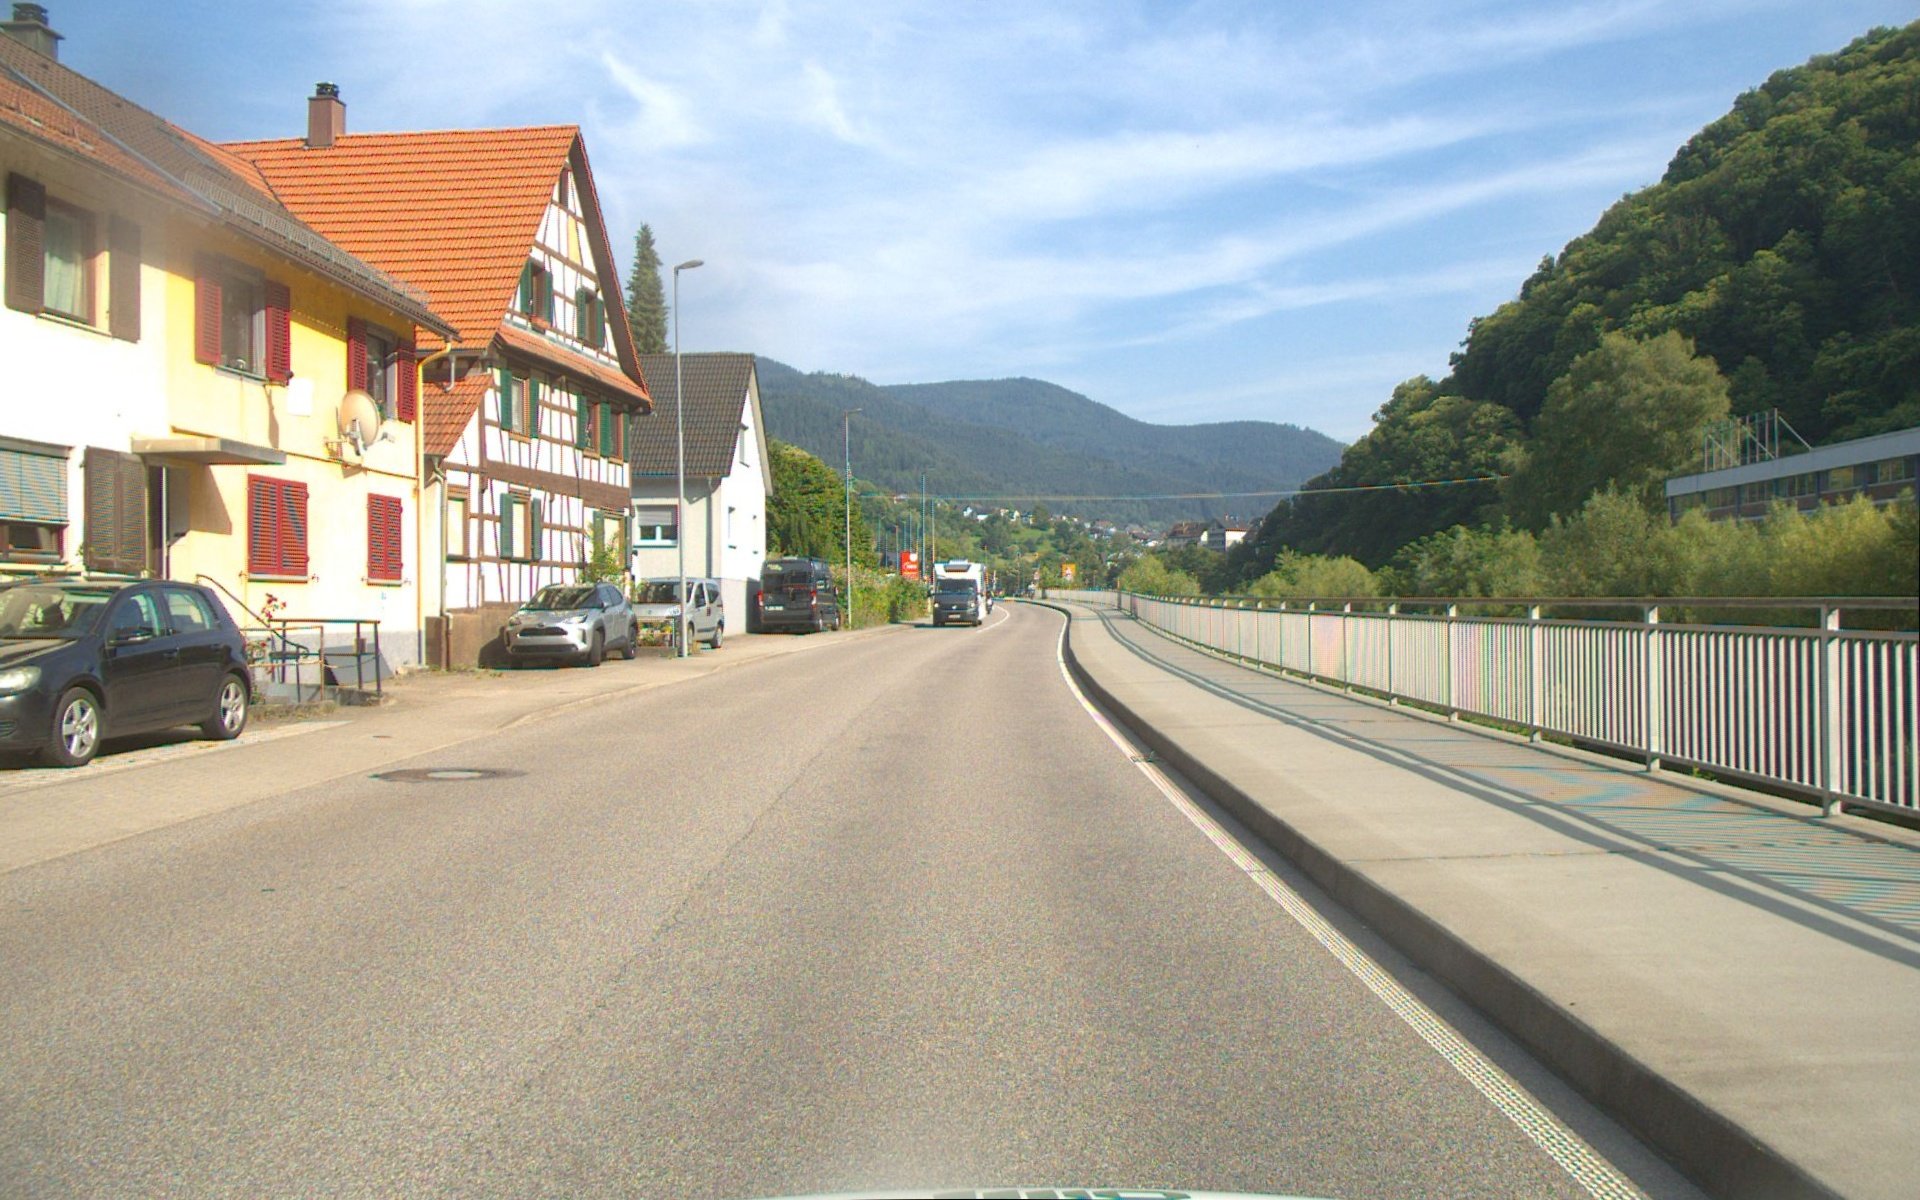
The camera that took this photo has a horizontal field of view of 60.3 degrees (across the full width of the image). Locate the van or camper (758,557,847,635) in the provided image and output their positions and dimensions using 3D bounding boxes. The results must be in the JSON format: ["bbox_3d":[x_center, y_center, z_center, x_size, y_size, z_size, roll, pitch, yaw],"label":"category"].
[{"bbox_3d":[-5.468,-0.141,58.269,2.103,2.600,5.905,0,0,5],"label":"van or camper"}]

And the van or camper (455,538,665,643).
[{"bbox_3d":[-10.848,-0.264,45.019,5.065,2.710,2.194,1,0,10],"label":"van or camper"}]

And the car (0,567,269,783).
[{"bbox_3d":[-7.610,0.517,13.930,1.846,1.545,4.235,1,0,-1],"label":"car"}]

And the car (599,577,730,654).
[{"bbox_3d":[-6.922,0.348,39.150,1.860,1.693,4.270,1,0,7],"label":"car"}]

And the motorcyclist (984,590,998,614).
[{"bbox_3d":[2.013,0.138,107.075,0.808,1.585,0.628,-1,-1,7],"label":"motorcyclist"}]

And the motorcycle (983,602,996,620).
[{"bbox_3d":[1.941,0.707,107.397,0.640,1.086,2.183,-1,0,6],"label":"motorcycle"}]

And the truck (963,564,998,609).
[{"bbox_3d":[1.837,-1.239,153.596,2.527,4.000,11.299,-1,0,-3],"label":"truck"}]

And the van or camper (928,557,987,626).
[{"bbox_3d":[-0.046,-0.408,75.752,2.149,2.990,7.131,1,0,4],"label":"van or camper"}]

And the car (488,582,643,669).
[{"bbox_3d":[-7.618,0.454,32.331,1.845,1.545,4.095,-1,0,2],"label":"car"}]
